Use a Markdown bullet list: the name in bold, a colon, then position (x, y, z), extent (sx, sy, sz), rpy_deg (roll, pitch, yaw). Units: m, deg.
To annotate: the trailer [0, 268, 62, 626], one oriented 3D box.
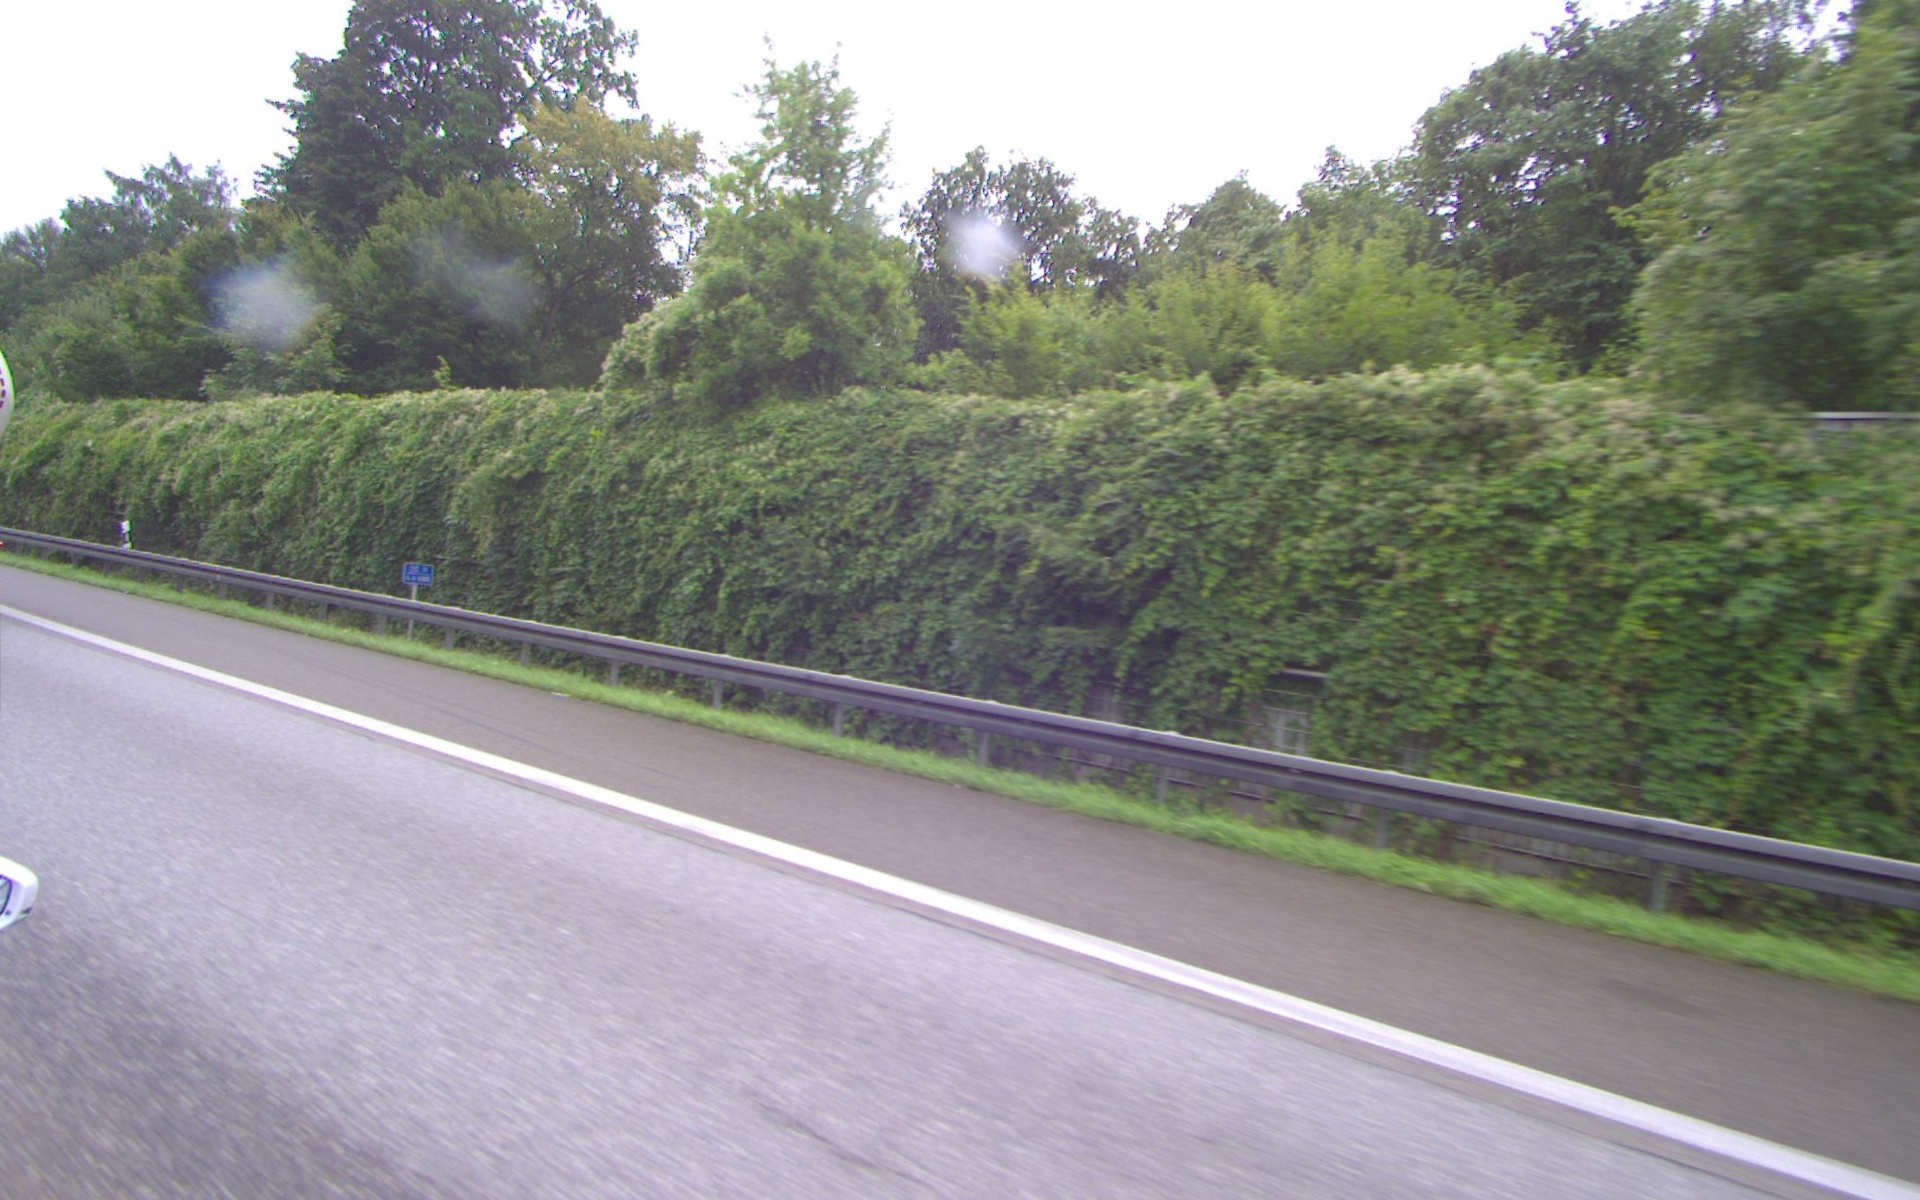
- **trailer**: position (-16.807, -2.398, 13.958), extent (12.913, 3.985, 2.673), rpy_deg (6, -1, 32)
